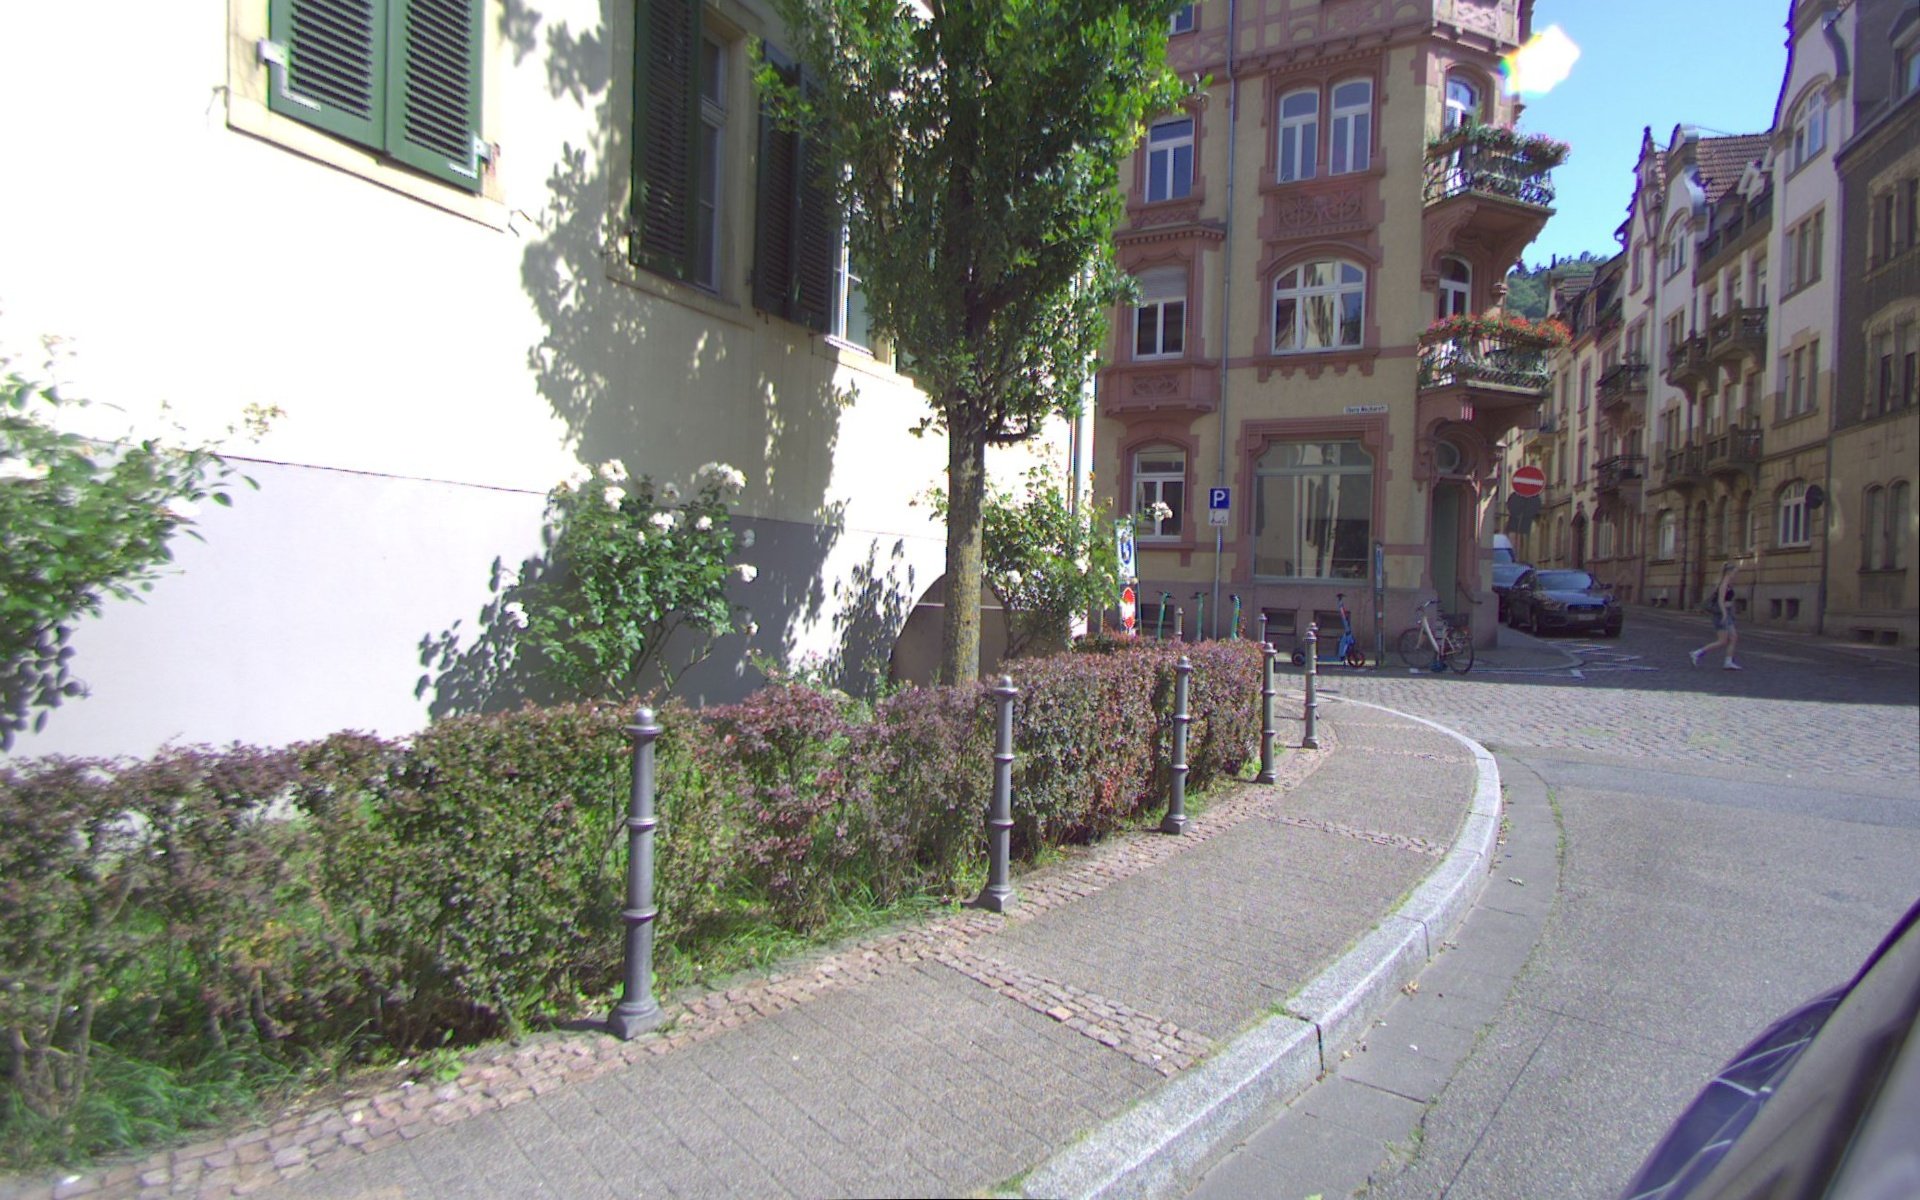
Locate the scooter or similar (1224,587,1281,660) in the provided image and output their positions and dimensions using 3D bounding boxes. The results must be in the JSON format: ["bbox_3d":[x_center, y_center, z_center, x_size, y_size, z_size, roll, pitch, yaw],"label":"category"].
[{"bbox_3d":[5.164,0.402,17.914,0.335,1.224,1.193,1,1,-17],"label":"scooter or similar"}]

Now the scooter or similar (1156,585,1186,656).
[{"bbox_3d":[3.860,0.356,18.547,0.336,1.224,1.190,2,1,3],"label":"scooter or similar"}]

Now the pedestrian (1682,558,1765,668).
[{"bbox_3d":[12.836,0.192,17.042,0.972,1.779,0.618,1,4,28],"label":"pedestrian"}]

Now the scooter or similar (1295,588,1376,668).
[{"bbox_3d":[6.198,0.447,16.744,1.174,1.250,0.440,2,1,15],"label":"scooter or similar"}]

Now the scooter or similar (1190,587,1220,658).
[{"bbox_3d":[4.443,0.390,18.387,0.406,1.224,1.232,2,1,9],"label":"scooter or similar"}]

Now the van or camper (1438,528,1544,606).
[{"bbox_3d":[19.219,-1.304,37.012,2.197,2.550,6.733,2,4,18],"label":"van or camper"}]

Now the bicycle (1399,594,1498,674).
[{"bbox_3d":[7.925,0.519,16.518,0.495,1.160,1.797,2,2,-8],"label":"bicycle"}]

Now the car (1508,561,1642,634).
[{"bbox_3d":[15.053,-0.130,25.028,1.837,1.602,4.238,0,3,17],"label":"car"}]

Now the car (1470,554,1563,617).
[{"bbox_3d":[16.505,-0.478,30.178,1.739,1.726,3.977,-1,2,19],"label":"car"}]
